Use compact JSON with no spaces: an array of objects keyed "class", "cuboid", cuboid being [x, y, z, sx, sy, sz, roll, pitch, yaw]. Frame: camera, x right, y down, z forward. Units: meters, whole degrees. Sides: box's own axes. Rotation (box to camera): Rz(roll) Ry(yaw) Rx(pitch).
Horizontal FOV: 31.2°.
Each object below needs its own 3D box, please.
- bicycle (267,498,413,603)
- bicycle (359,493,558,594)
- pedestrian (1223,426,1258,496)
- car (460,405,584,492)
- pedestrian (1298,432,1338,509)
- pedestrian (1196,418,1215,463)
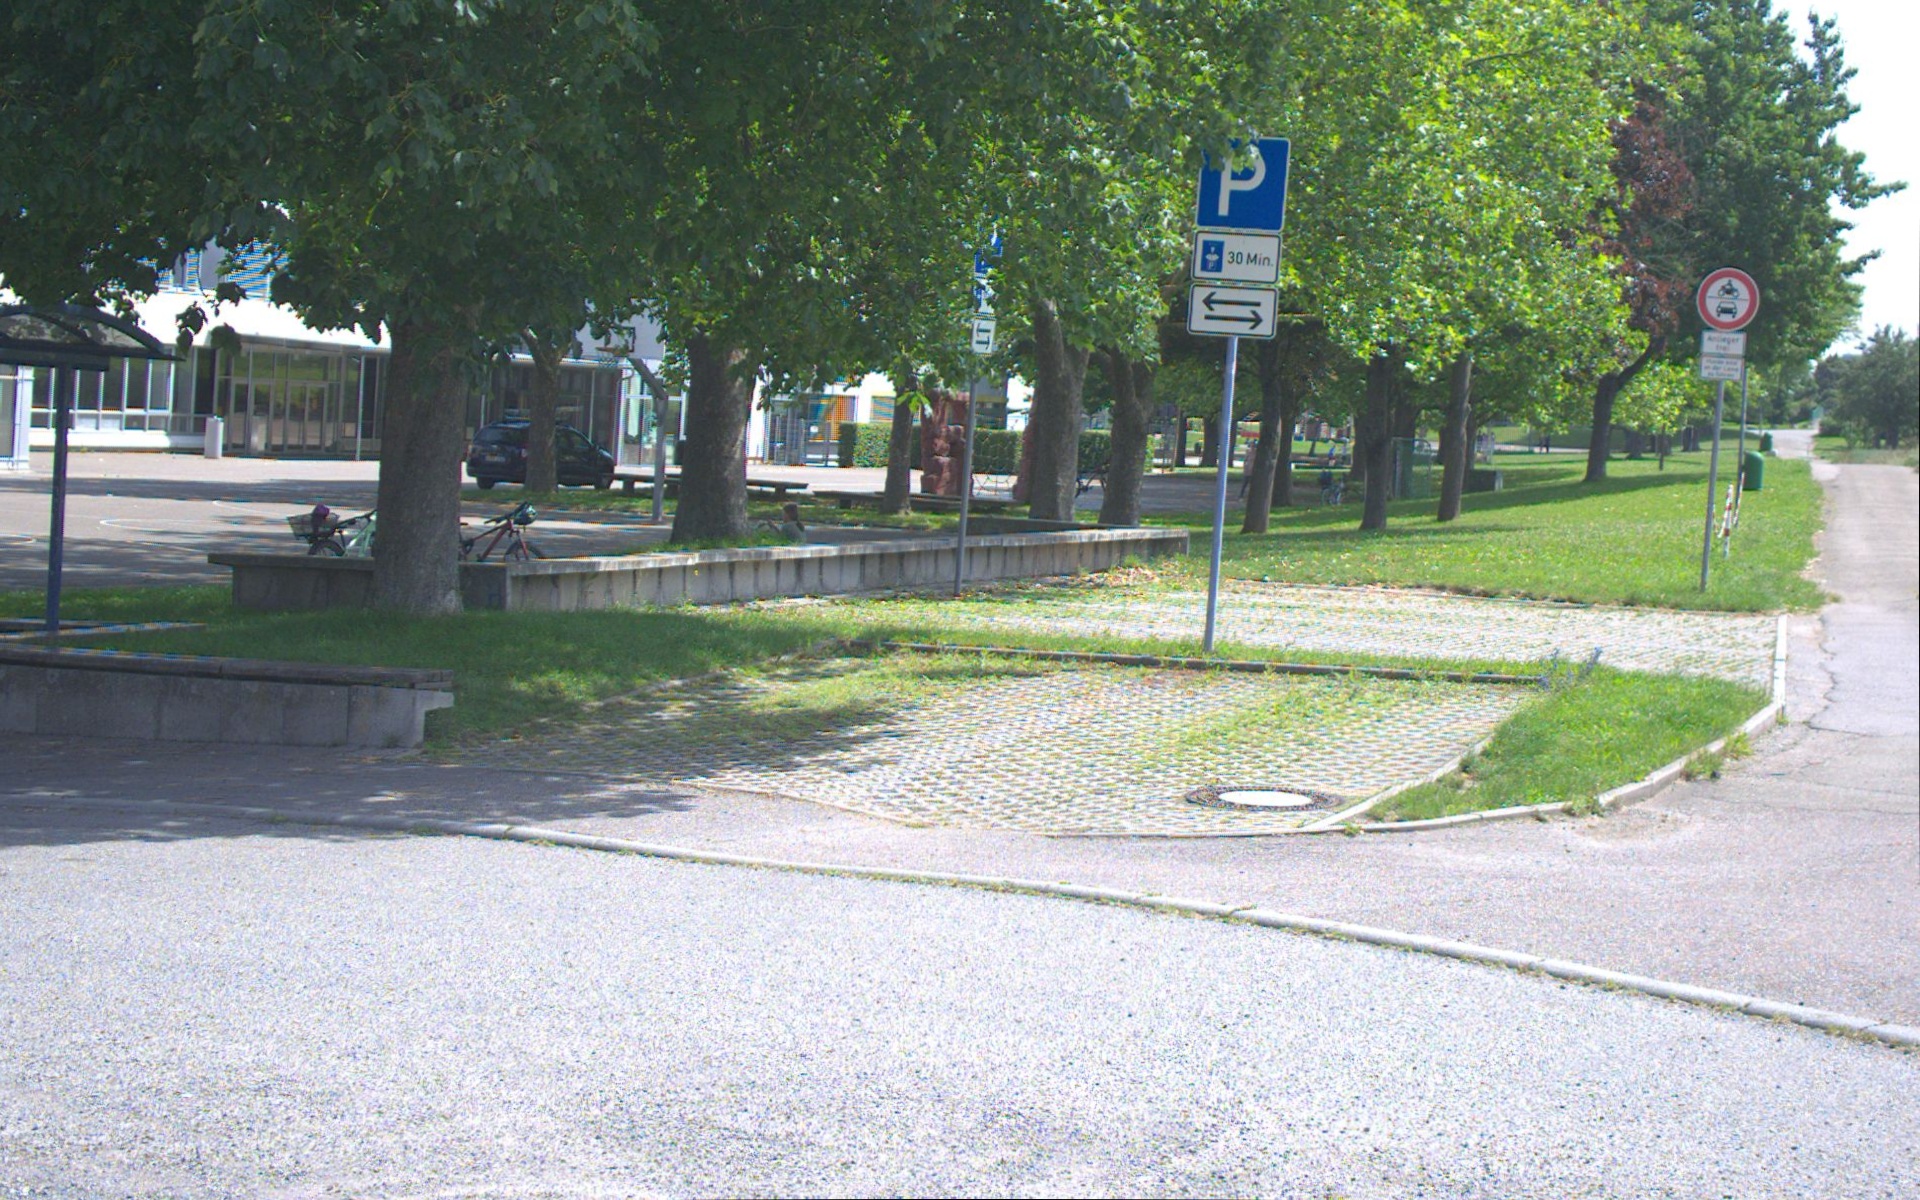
[{"class":"bicycle","cuboid":[-6.419,-0.532,35.687,0.595,1.035,1.891,2,3,20]},{"class":"bicycle","cuboid":[-5.487,-0.627,37.642,2.062,1.035,0.572,2,2,5]},{"class":"pedestrian","cuboid":[8.248,-4.081,101.007,0.832,2.006,0.692,3,2,-3]},{"class":"car","cuboid":[-9.676,-3.341,76.149,1.692,1.828,3.410,3,2,10]},{"class":"pedestrian","cuboid":[9.621,-3.484,92.313,0.682,2.006,0.804,2,2,-20]},{"class":"pedestrian","cuboid":[11.206,-7.269,156.777,0.723,2.006,0.682,0,2,16]}]
